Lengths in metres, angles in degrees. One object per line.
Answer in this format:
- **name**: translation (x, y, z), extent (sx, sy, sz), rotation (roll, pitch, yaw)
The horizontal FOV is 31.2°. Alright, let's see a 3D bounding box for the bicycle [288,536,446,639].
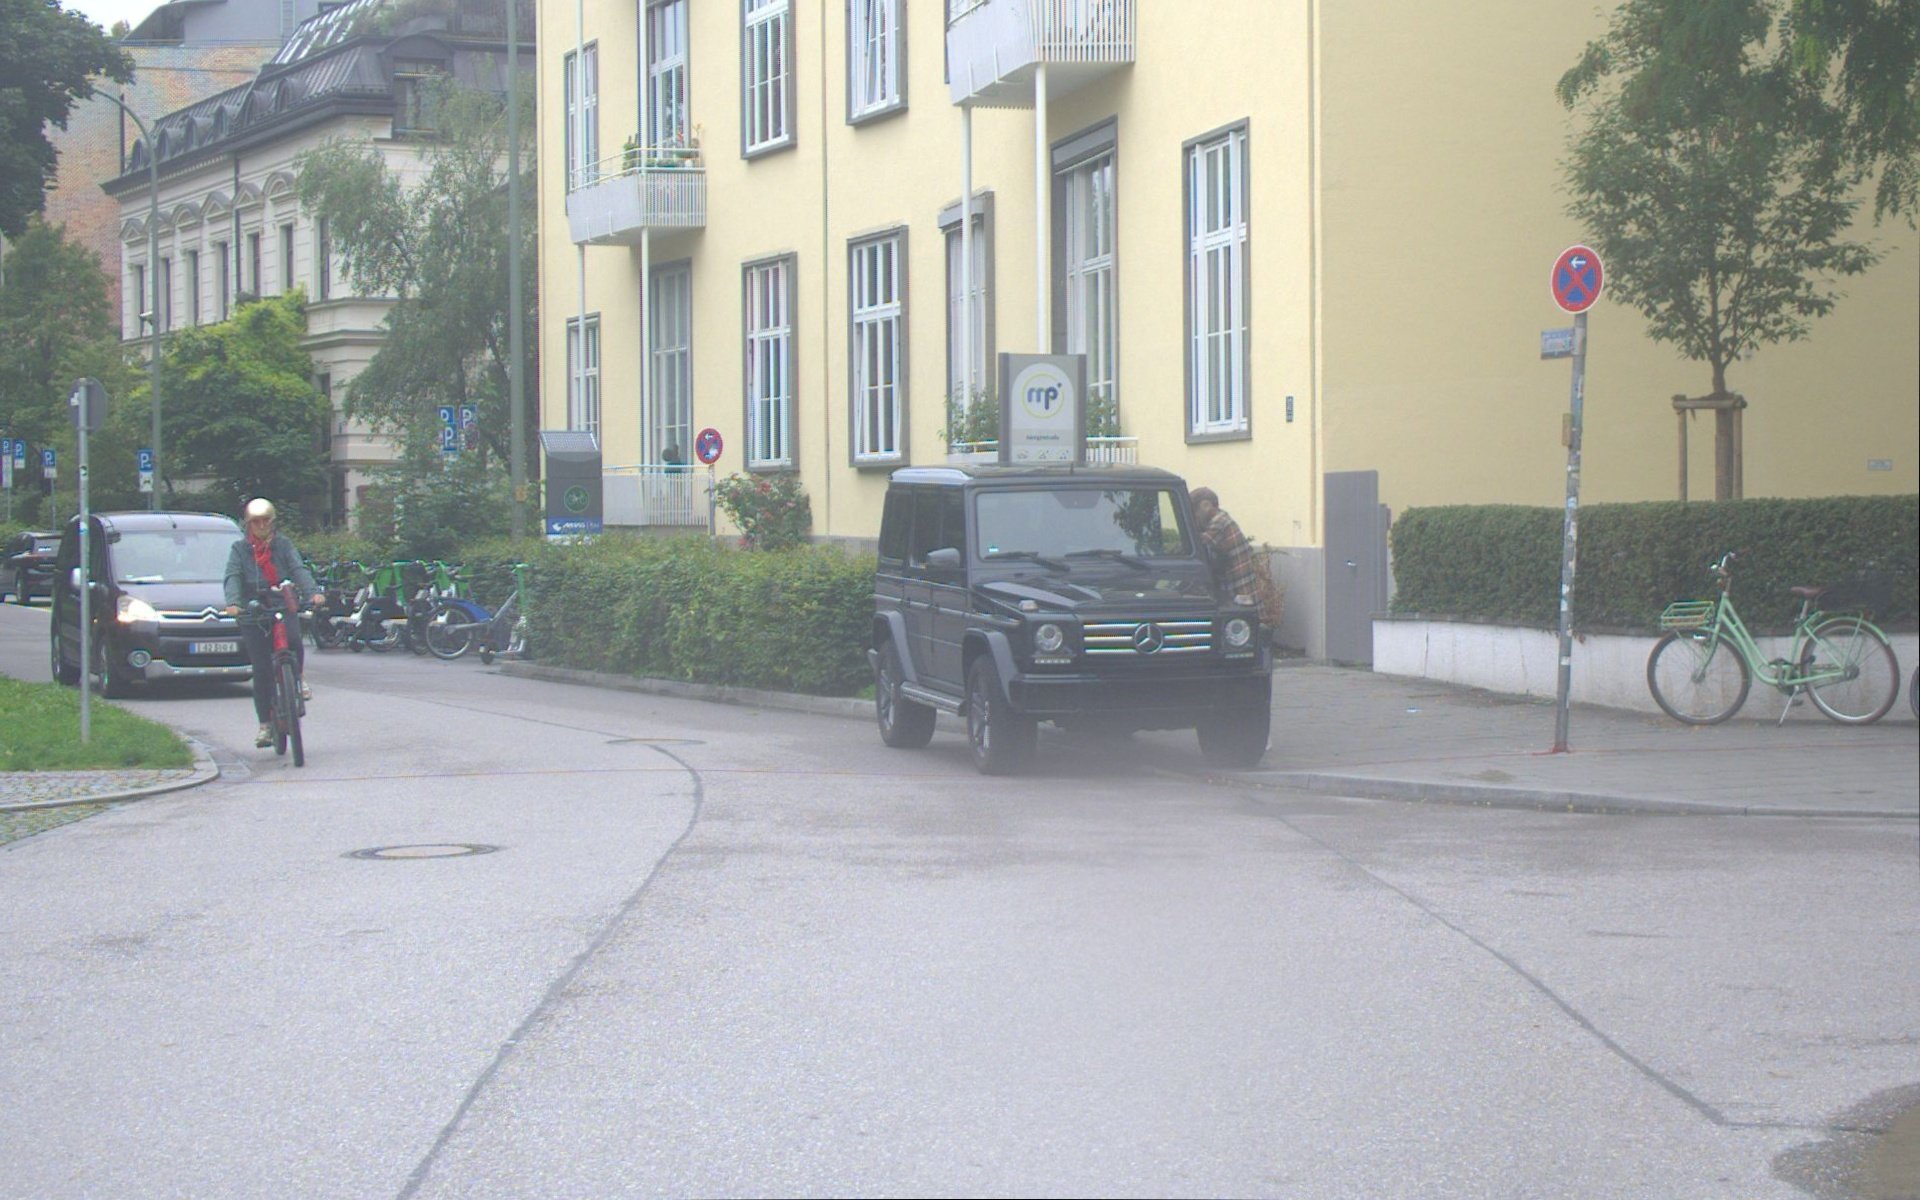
- **bicycle**: translation (-7.812, -0.181, 45.391), extent (0.733, 1.301, 2.152), rotation (0, 2, 35)

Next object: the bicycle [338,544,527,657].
- **bicycle**: translation (-6.348, -0.010, 41.469), extent (2.149, 1.301, 0.734), rotation (-2, 2, -37)

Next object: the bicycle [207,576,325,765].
- **bicycle**: translation (-4.820, 0.464, 23.979), extent (0.743, 1.210, 2.145), rotation (-2, 1, -10)

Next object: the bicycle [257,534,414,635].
- **bicycle**: translation (-8.358, -0.223, 46.087), extent (0.733, 1.301, 2.152), rotation (0, 2, 35)

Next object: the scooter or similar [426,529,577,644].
- **scooter or similar**: translation (-5.389, -0.176, 40.548), extent (0.733, 1.301, 2.153), rotation (0, 2, 24)

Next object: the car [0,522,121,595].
- **car**: translation (-17.796, -0.816, 67.151), extent (1.993, 1.367, 4.001), rotation (-1, 1, -25)

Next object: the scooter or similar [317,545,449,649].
- **scooter or similar**: translation (-7.511, -0.050, 44.821), extent (0.733, 1.301, 1.727), rotation (0, 2, 32)

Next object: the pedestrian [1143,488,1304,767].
- **pedestrian**: translation (1.745, 0.165, 22.854), extent (0.874, 1.817, 0.799), rotation (-1, 2, -12)

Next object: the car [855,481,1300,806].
- **car**: translation (0.655, 0.200, 22.814), extent (1.762, 1.868, 4.380), rotation (3, 1, -13)

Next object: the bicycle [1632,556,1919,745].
- **bicycle**: translation (5.479, 0.315, 23.025), extent (0.594, 1.197, 1.927), rotation (-2, 2, -45)

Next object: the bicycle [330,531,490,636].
- **bicycle**: translation (-7.093, -0.224, 44.433), extent (0.733, 1.301, 2.152), rotation (0, 2, 35)

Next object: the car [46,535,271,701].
- **car**: translation (-7.891, 0.123, 33.614), extent (1.914, 1.466, 4.001), rotation (-1, 2, -16)

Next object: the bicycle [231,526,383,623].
- **bicycle**: translation (-9.074, -0.374, 47.834), extent (0.733, 1.301, 2.152), rotation (0, 2, 35)

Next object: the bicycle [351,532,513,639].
- **bicycle**: translation (-6.680, -0.195, 43.576), extent (0.733, 1.301, 2.152), rotation (0, 2, 35)

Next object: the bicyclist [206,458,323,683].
- **bicyclist**: translation (-4.840, -0.213, 23.971), extent (0.743, 1.516, 0.946), rotation (-2, 1, -10)
